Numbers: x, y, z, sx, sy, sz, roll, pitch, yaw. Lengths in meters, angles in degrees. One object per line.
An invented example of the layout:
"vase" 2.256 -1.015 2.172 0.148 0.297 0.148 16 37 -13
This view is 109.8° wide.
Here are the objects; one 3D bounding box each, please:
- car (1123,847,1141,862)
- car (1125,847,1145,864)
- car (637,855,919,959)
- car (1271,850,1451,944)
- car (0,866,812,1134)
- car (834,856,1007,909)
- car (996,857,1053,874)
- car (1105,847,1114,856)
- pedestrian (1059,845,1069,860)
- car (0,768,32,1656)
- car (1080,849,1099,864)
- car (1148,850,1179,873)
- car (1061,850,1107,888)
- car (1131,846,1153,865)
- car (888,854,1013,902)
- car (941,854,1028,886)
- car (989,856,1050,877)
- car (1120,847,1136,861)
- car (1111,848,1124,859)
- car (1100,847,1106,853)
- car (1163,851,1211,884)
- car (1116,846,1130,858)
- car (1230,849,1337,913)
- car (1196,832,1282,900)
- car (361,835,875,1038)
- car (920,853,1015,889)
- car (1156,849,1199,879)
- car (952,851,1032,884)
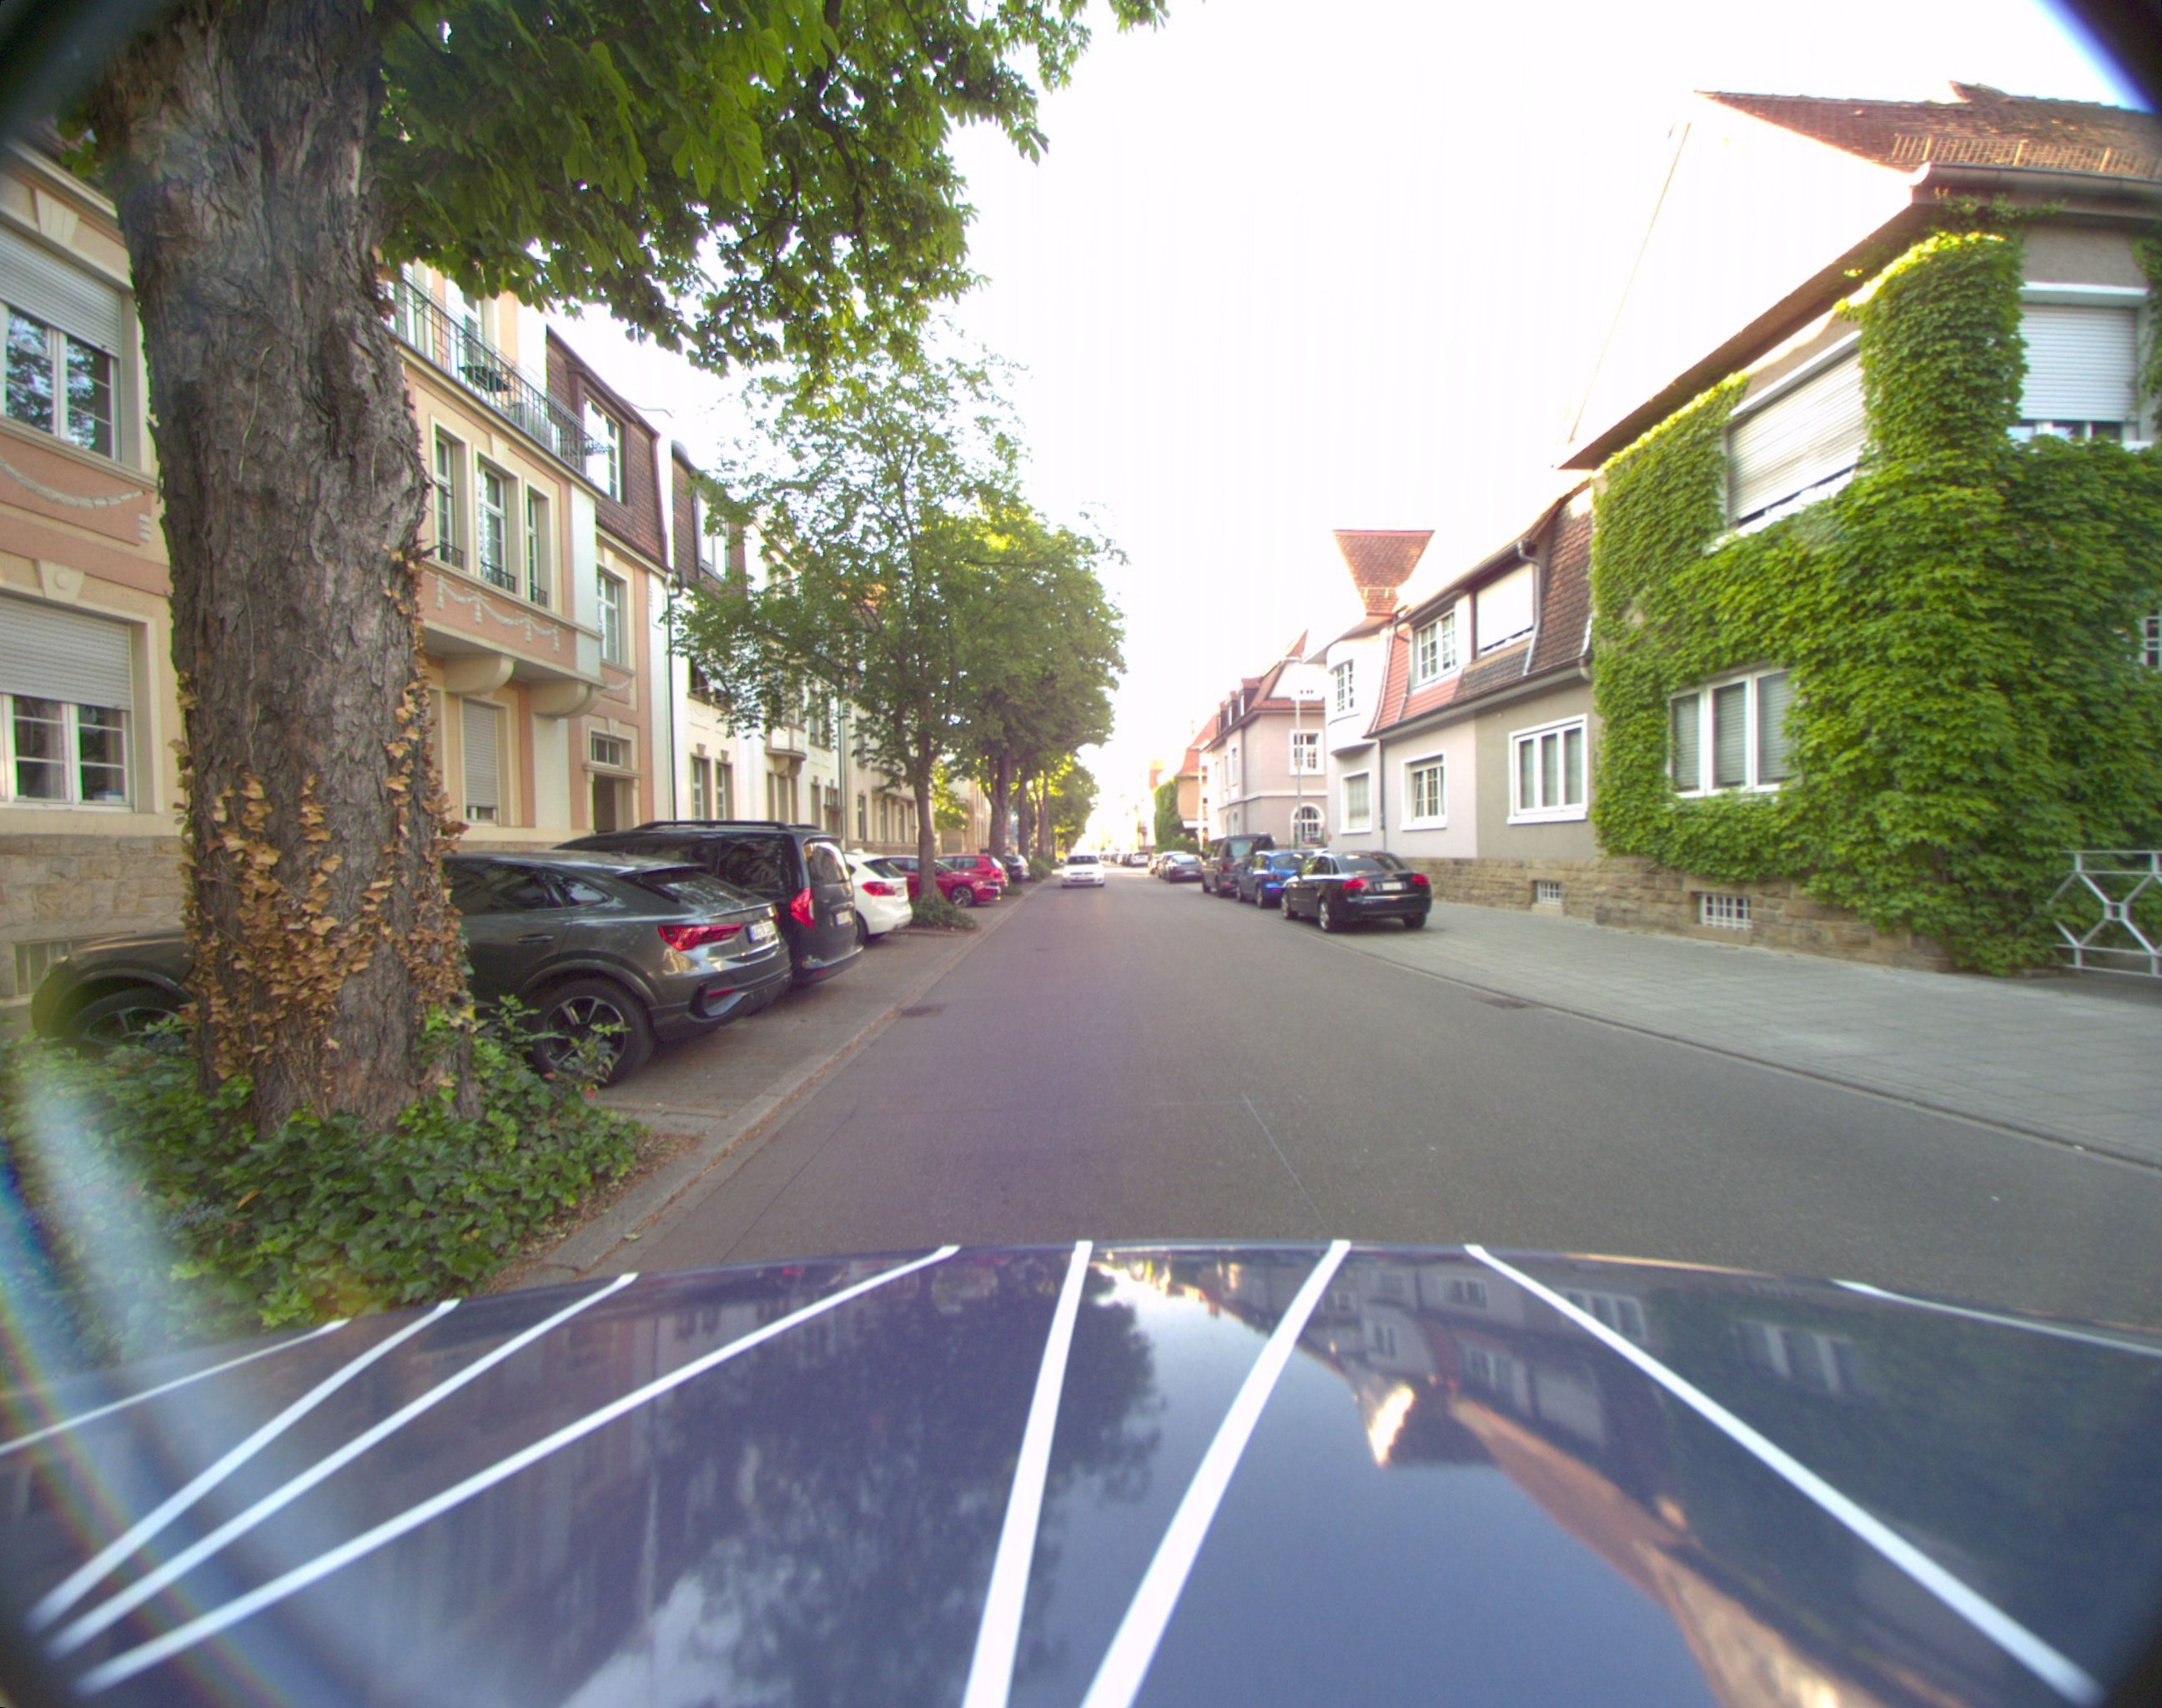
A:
"car" 5.434 0.054 80.763 1.699 1.520 3.677 -3 1 2
"car" 5.333 0.113 75.271 1.699 1.520 3.677 -3 1 2
"car" -4.830 0.814 12.531 3.950 1.568 1.719 0 1 0
"car" 5.133 0.695 14.649 1.806 1.438 4.428 -3 1 0
"car" -4.538 0.879 5.507 4.522 1.514 1.844 0 1 -4
"car" -4.534 0.797 21.938 4.530 1.443 1.867 0 1 3
"car" -3.517 0.720 47.642 3.399 1.057 1.542 0 1 2
"car" 5.569 -0.482 149.120 1.699 1.520 3.677 -3 1 2
"pedestrian" -2.218 -0.198 98.212 1.119 1.927 1.097 -3 1 -1
"car" -4.592 0.768 0.521 4.763 1.864 1.896 0 1 -4
"car" 0.911 0.267 78.475 1.819 1.454 4.072 -2 0 1
"car" 5.438 0.468 50.383 1.662 1.354 3.677 -3 1 2
"car" 0.165 0.611 33.064 1.819 1.454 4.072 -2 0 1
"car" 5.419 0.146 68.007 1.699 1.558 3.677 -3 1 2
"car" -4.139 0.748 24.466 3.680 1.473 1.659 0 1 3
"car" -4.315 0.711 34.326 3.680 1.390 1.576 0 1 2
"car" -3.566 0.726 44.436 3.399 1.143 1.542 0 1 2
"car" 5.562 -0.053 91.009 1.699 1.520 3.677 -3 1 2
"car" 5.547 -0.132 115.862 1.699 1.520 3.677 -3 1 2
"car" 5.838 -0.997 202.669 1.699 1.520 3.677 -3 1 2
"car" 5.061 0.591 36.667 1.932 1.376 4.063 -3 1 4
"car" 5.543 -0.251 100.735 1.699 1.520 3.677 -3 1 2
"car" 5.281 0.642 20.343 1.768 1.438 4.062 -3 1 0
"car" 5.145 0.351 25.354 1.842 1.964 4.612 -3 1 0
"car" -4.436 0.736 7.831 4.121 1.827 1.844 0 1 -2
"car" -4.678 0.707 31.710 3.680 1.457 1.576 0 1 2
"car" 5.283 0.501 42.144 1.932 1.458 4.062 -3 1 2
"car" -4.281 0.620 36.839 3.680 1.548 1.576 0 1 2
